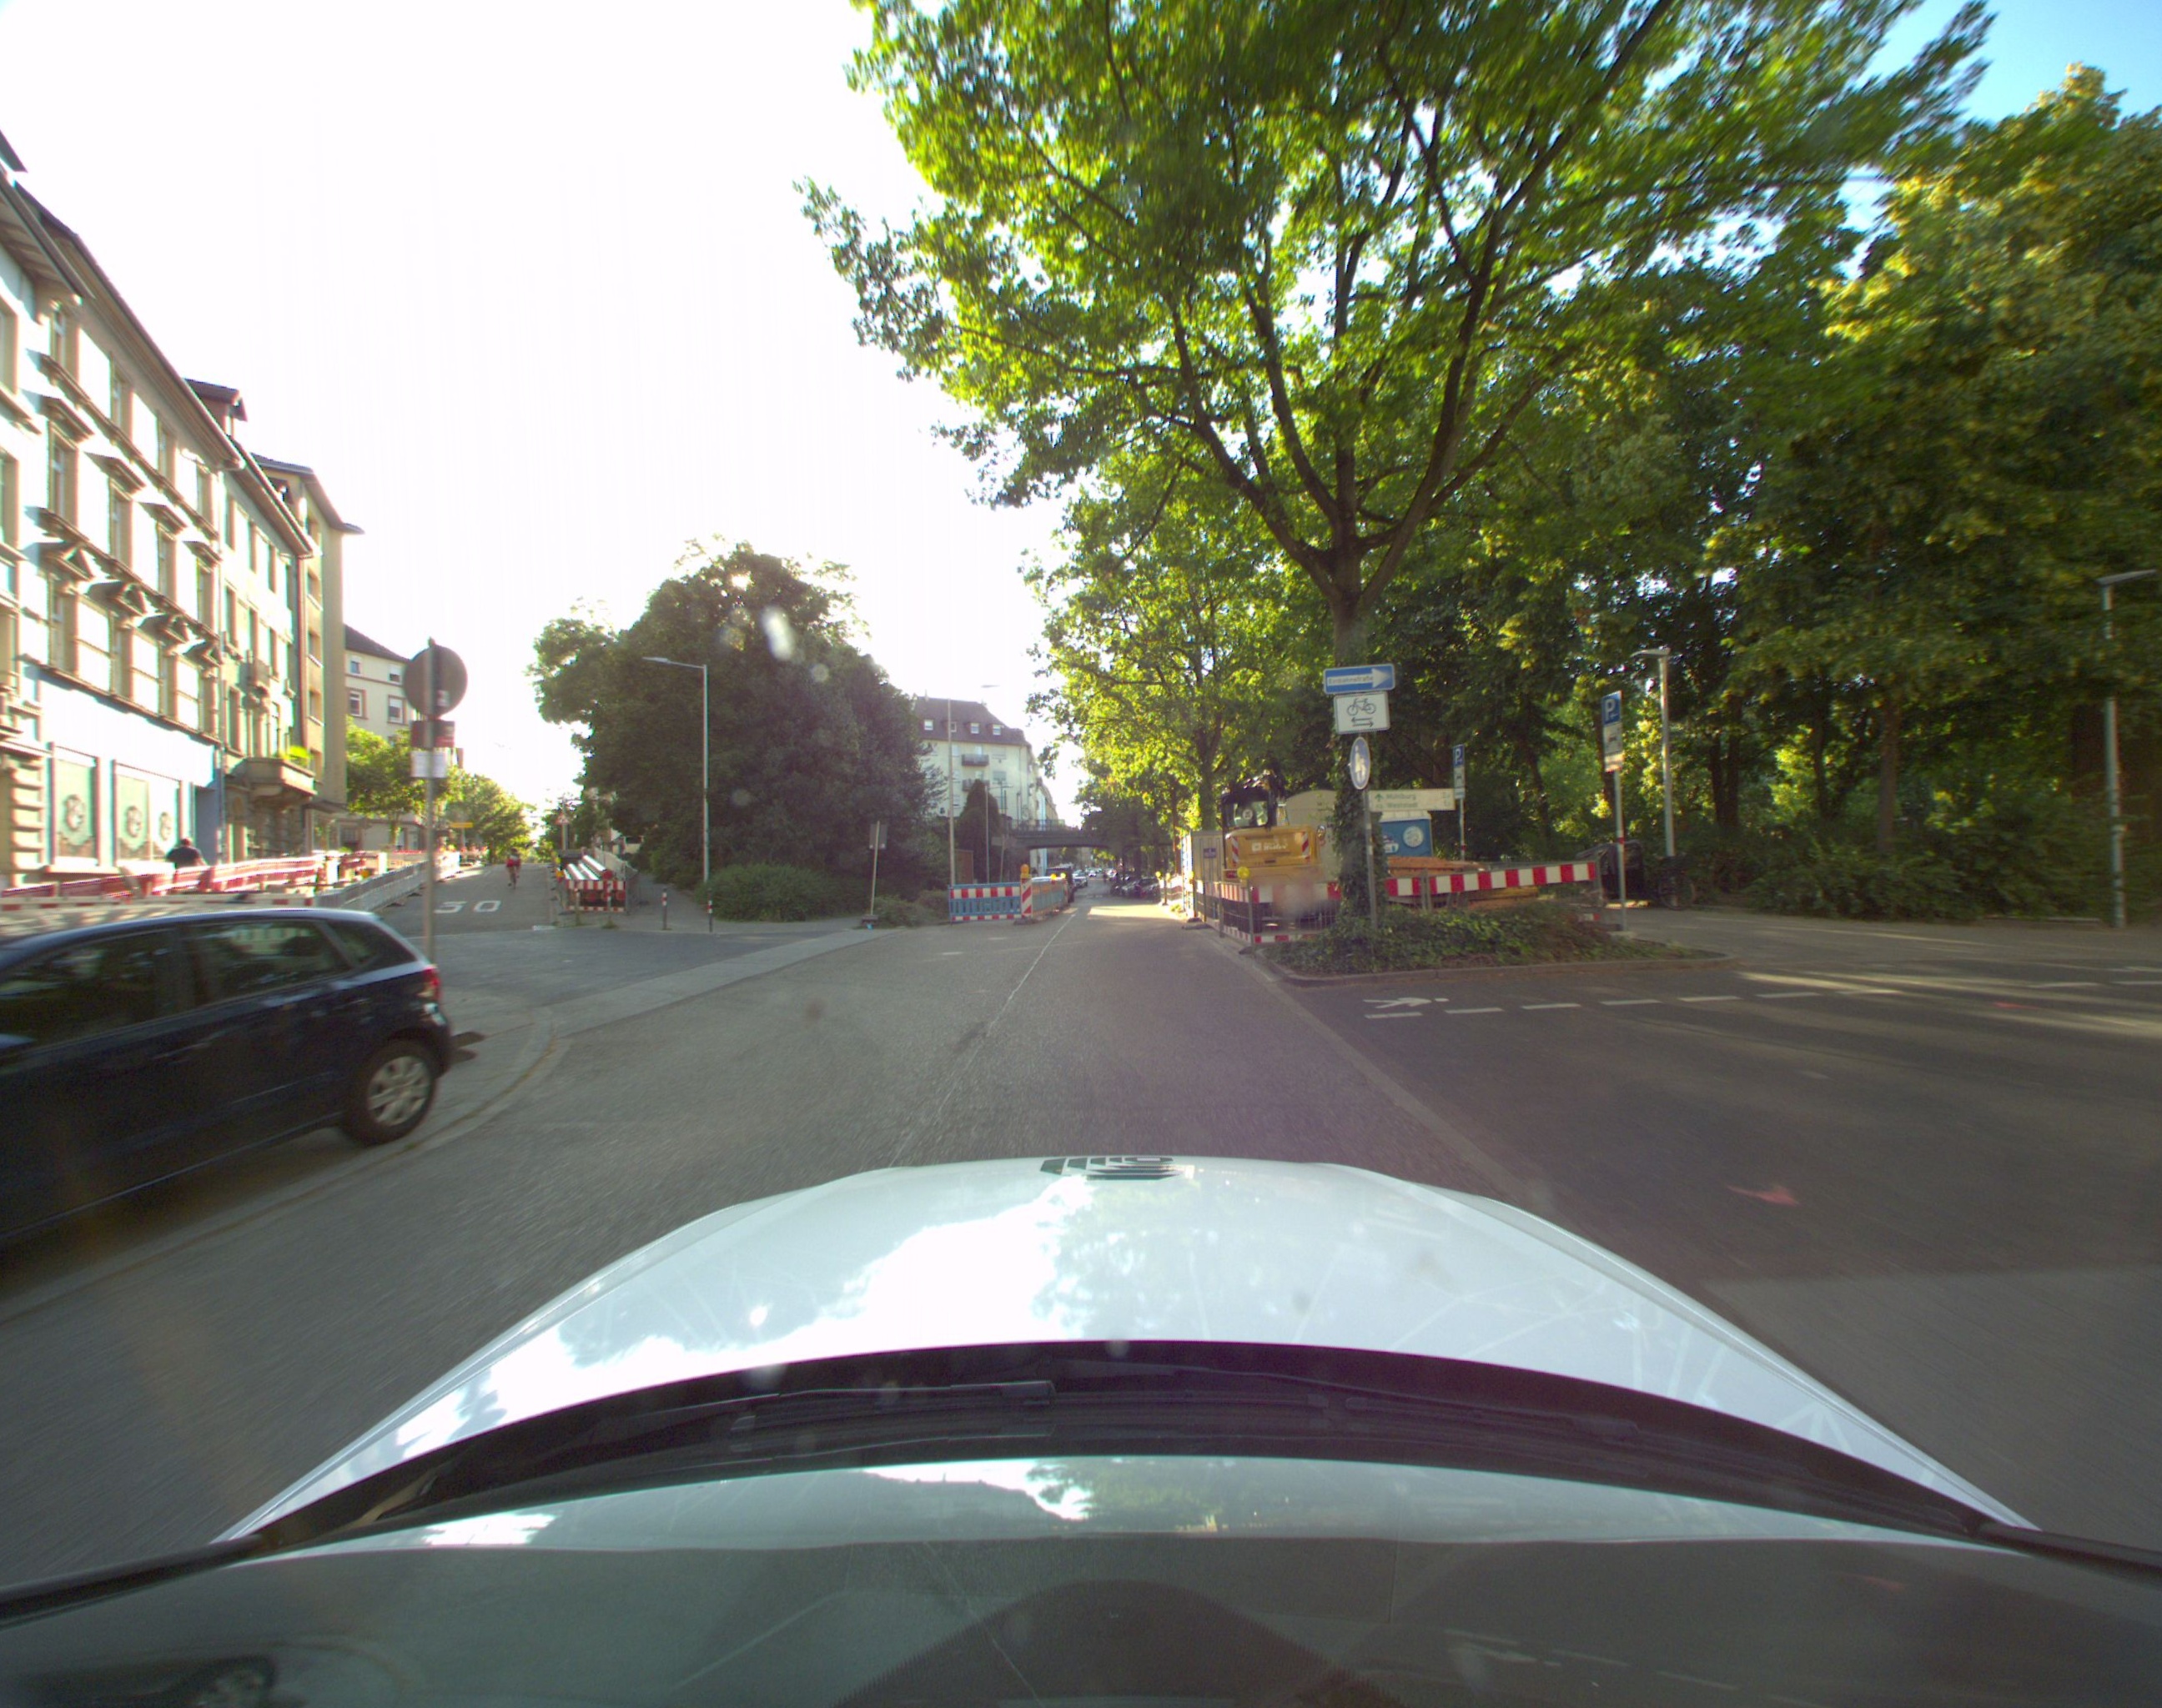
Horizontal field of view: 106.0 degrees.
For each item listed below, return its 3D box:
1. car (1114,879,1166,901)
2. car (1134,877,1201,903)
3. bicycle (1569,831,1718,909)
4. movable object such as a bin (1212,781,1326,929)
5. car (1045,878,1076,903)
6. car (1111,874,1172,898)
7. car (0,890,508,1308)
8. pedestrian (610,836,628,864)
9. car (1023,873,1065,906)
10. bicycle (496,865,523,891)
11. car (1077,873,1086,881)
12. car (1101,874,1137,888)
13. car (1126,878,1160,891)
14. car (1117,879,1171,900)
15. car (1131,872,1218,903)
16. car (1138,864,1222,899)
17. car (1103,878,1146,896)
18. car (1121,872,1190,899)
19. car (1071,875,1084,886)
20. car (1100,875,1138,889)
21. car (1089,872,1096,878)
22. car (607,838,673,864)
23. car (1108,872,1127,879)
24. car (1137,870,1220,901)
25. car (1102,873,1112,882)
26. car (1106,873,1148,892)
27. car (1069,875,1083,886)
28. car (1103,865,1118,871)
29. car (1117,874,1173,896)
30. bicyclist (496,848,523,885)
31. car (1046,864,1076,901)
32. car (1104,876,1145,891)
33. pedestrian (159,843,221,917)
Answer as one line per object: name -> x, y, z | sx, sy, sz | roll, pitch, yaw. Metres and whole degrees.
car -> 5.126, 3.166, 71.306 | 4.374, 1.785, 1.915 | 0, -4, -1
car -> 5.878, 2.456, 55.608 | 4.374, 1.702, 1.915 | 0, -4, -1
bicycle -> 10.318, 0.282, 15.059 | 1.024, 1.285, 2.139 | -3, 0, -10
movable object such as a bin -> 3.878, 0.047, 16.627 | 1.979, 2.699, 3.123 | -2, -1, 15
car -> -1.343, 2.437, 54.058 | 1.806, 1.453, 4.349 | -3, -3, 1
car -> 4.496, 2.385, 60.777 | 4.374, 1.702, 1.915 | 0, -4, -1
car -> -4.857, 0.988, 3.633 | 1.663, 1.458, 4.001 | -1, 0, 1
pedestrian -> -29.535, -0.281, 52.056 | 0.863, 1.763, 1.080 | 0, -1, -36
car -> -1.751, 1.714, 39.452 | 1.709, 1.418, 4.106 | -3, -3, 1
bicycle -> -22.257, 0.926, 31.727 | 0.809, 0.968, 2.086 | 0, 0, -34
car -> 0.210, 4.950, 175.859 | 1.806, 1.398, 3.975 | -3, -3, 1
car -> 4.693, 3.384, 100.702 | 4.374, 1.610, 1.779 | 0, -4, -1
car -> 8.262, 4.097, 108.333 | 4.371, 1.610, 1.781 | -1, -4, 1
car -> 5.286, 3.030, 68.334 | 4.374, 1.702, 1.915 | 0, -4, -1
car -> 4.928, 1.792, 43.443 | 4.376, 1.606, 1.914 | 0, -4, -3
car -> 5.842, 1.636, 48.509 | 4.729, 1.997, 1.915 | 0, -4, -2
car -> 4.480, 3.393, 84.322 | 4.374, 1.785, 1.915 | 0, -4, -1
car -> 4.839, 2.064, 53.394 | 4.374, 1.702, 1.915 | 0, -4, -1
car -> -0.481, 3.986, 121.230 | 1.806, 1.398, 3.975 | -3, -3, 1
car -> 4.450, 3.318, 95.260 | 4.374, 1.610, 1.779 | 0, -4, -1
car -> 3.132, 5.648, 216.212 | 1.806, 1.398, 3.975 | -3, -3, 1
car -> -35.519, -0.223, 65.685 | 4.384, 2.014, 1.921 | -1, 0, -21
car -> 8.355, 5.028, 188.023 | 4.371, 1.610, 1.781 | -1, -4, 1
car -> 5.433, 1.779, 45.685 | 4.374, 1.702, 1.915 | 0, -4, -1
car -> 4.668, 4.210, 144.942 | 1.768, 1.610, 4.402 | -1, -2, 2
car -> 4.841, 3.023, 86.236 | 4.374, 1.862, 1.915 | 0, -4, -1
car -> -0.727, 3.771, 115.879 | 1.806, 1.398, 3.975 | -3, -3, 1
car -> 8.572, 4.065, 239.375 | 4.371, 1.610, 1.781 | -1, -4, 1
car -> 5.109, 2.506, 65.745 | 4.374, 1.702, 1.915 | 0, -4, -1
bicyclist -> -22.272, 0.480, 31.748 | 0.809, 1.383, 0.975 | 0, -1, -34
car -> -1.422, 2.098, 59.087 | 2.041, 2.498, 5.694 | 0, -3, -1
car -> 4.697, 3.202, 88.934 | 4.374, 1.610, 1.779 | 0, -4, -1
pedestrian -> -25.155, 0.706, 23.009 | 0.946, 2.013, 0.949 | -1, 0, -32
